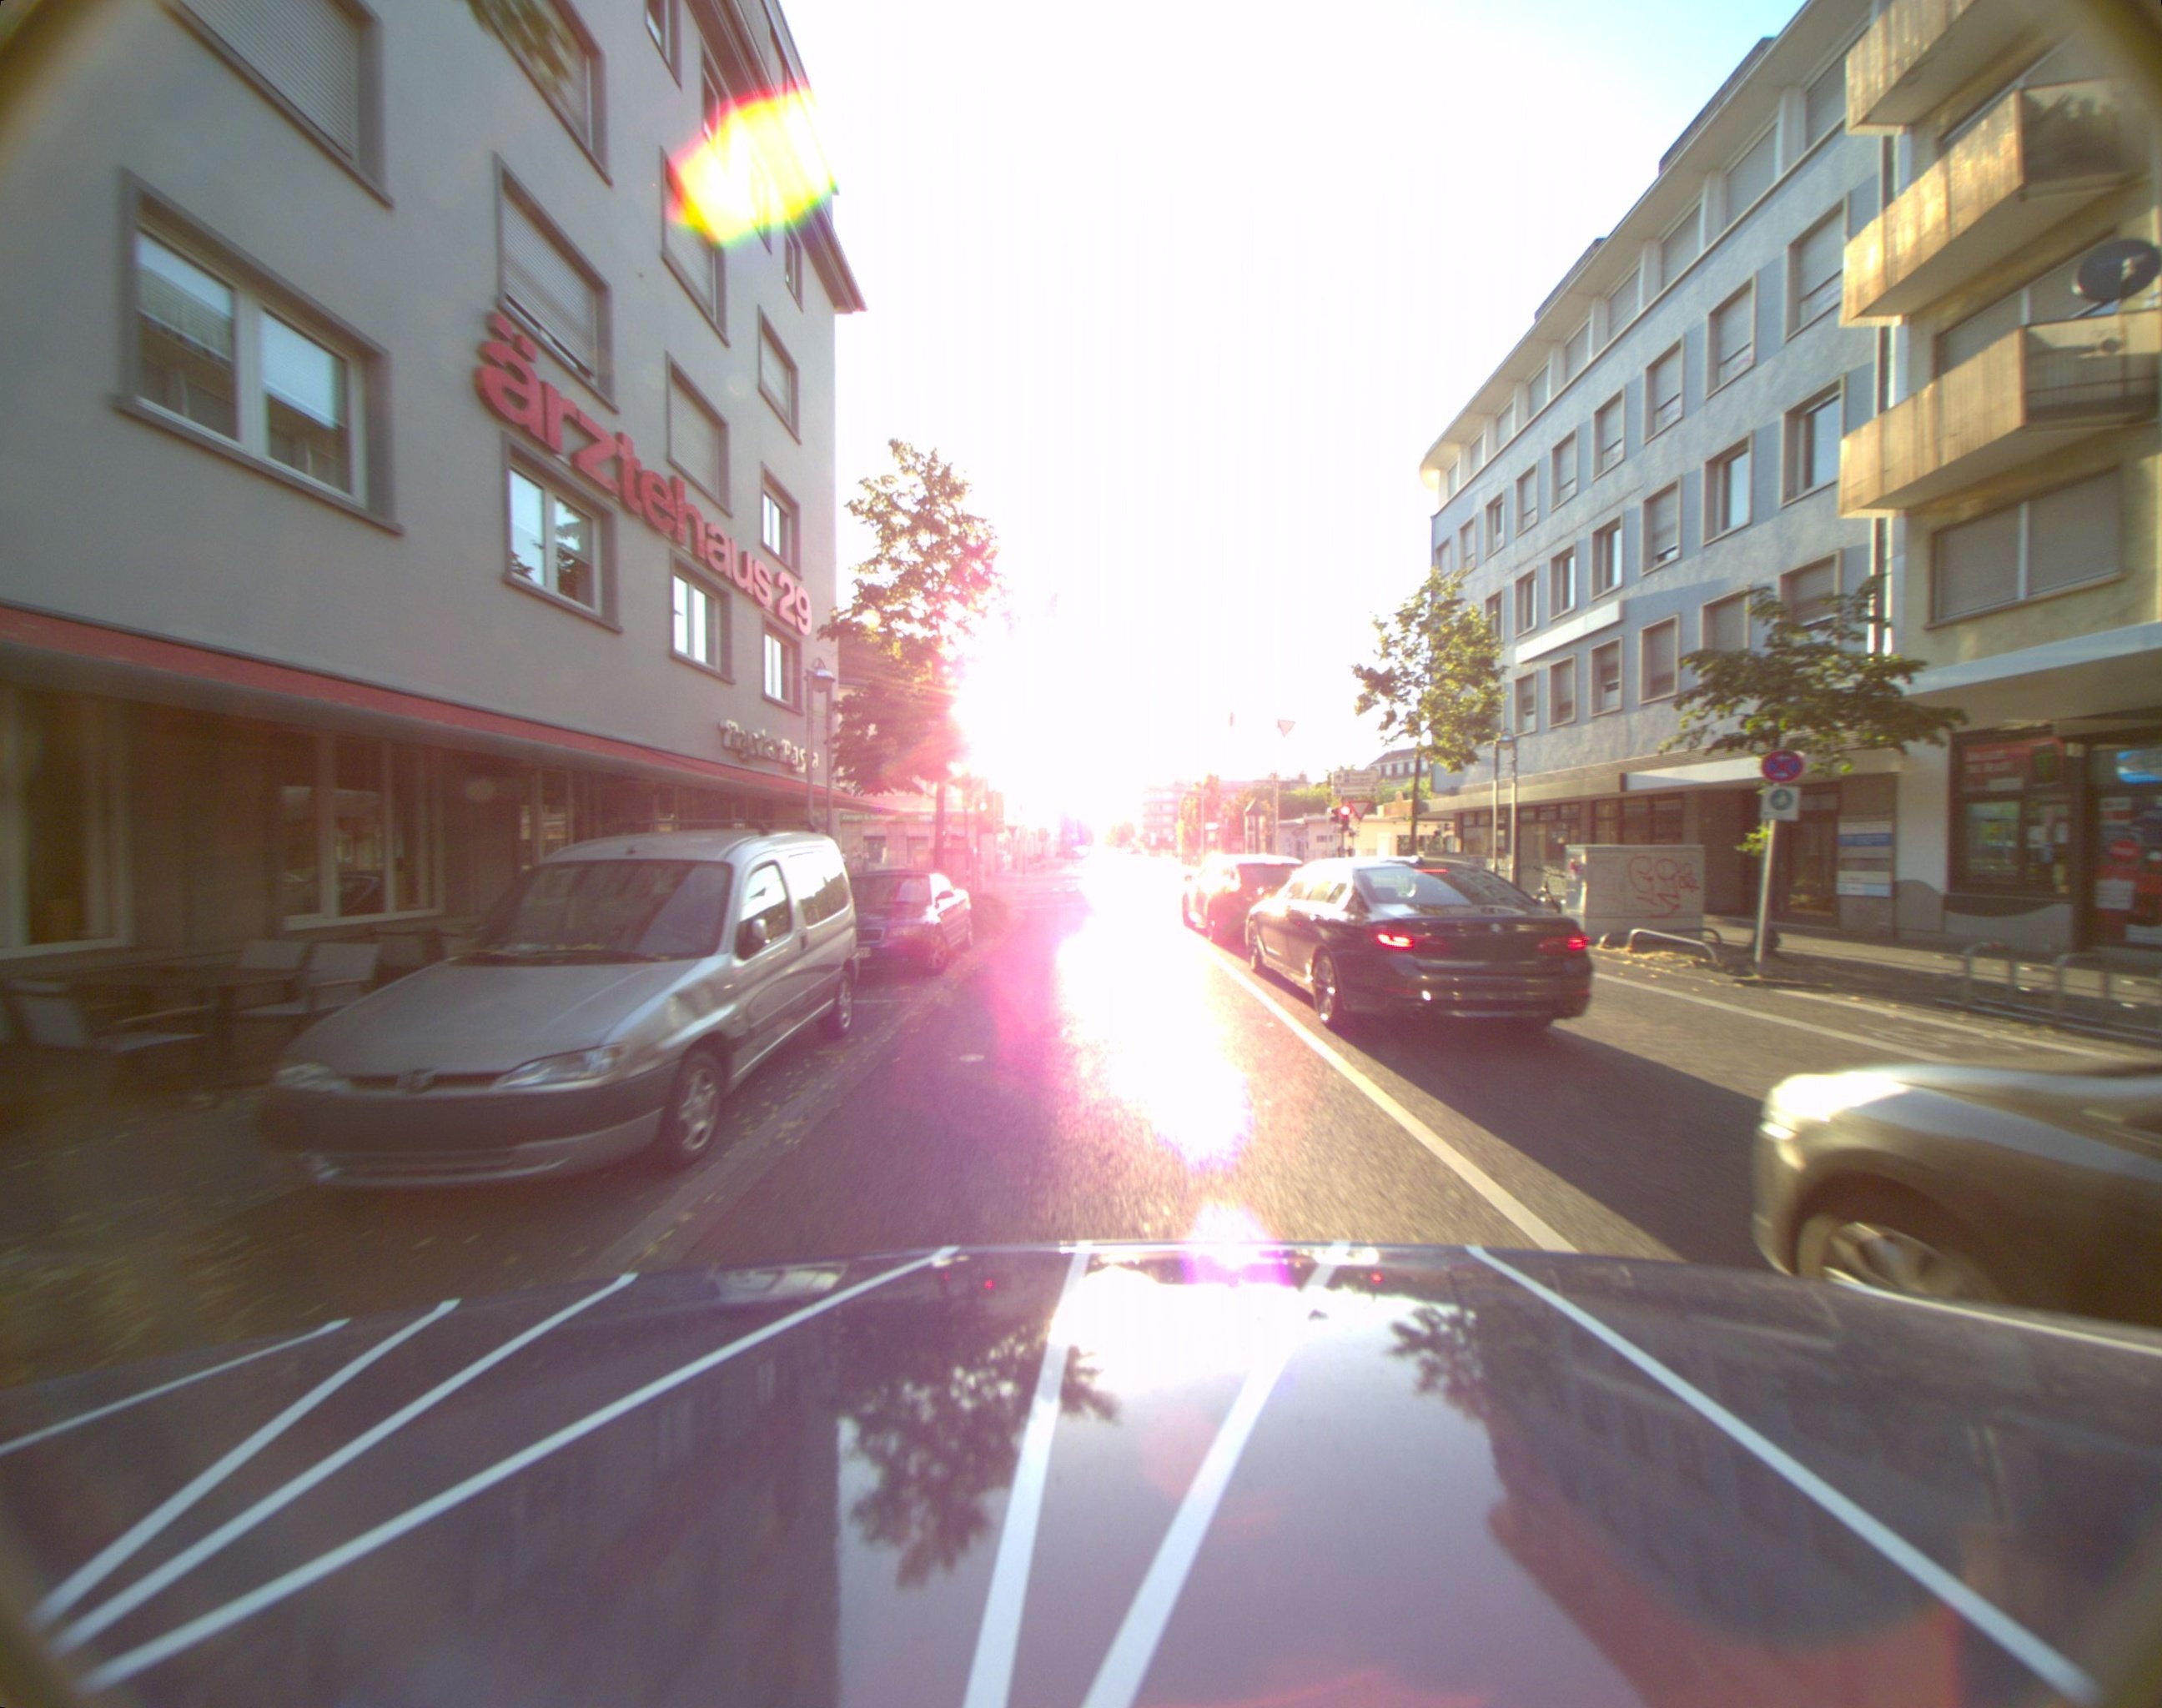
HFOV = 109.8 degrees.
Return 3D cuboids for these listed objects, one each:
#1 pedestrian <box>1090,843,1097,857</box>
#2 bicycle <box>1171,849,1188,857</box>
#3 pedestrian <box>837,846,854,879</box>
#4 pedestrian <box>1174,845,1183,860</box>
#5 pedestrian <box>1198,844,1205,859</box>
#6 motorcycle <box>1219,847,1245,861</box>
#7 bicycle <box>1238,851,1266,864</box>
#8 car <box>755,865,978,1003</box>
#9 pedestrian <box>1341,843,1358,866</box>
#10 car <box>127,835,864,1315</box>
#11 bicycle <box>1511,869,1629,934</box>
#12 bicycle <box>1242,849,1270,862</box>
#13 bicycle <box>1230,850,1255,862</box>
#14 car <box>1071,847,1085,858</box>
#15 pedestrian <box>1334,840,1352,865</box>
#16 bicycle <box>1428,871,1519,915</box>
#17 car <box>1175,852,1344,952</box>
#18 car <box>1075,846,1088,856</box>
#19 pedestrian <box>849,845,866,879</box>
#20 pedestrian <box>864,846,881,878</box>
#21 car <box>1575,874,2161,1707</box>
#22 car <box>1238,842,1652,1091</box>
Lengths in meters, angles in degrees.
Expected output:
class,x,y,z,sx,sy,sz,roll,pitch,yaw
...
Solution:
class,x,y,z,sx,sy,sz,roll,pitch,yaw
pedestrian,1.539,-0.474,97.043,0.842,1.736,0.700,-2,2,0
bicycle,14.008,-0.156,107.856,2.398,1.065,0.672,-1,2,8
pedestrian,-13.055,0.460,42.133,0.685,1.762,0.628,-3,3,-39
pedestrian,11.352,-0.170,88.747,0.905,1.667,0.780,-1,2,13
pedestrian,13.645,-0.261,86.289,0.778,1.667,0.907,-1,2,9
motorcycle,14.791,0.001,74.554,2.450,1.358,0.780,-1,1,6
bicycle,14.948,0.335,66.518,2.221,1.081,0.779,-1,2,-5
car,-2.725,0.947,10.756,1.942,1.368,4.181,-3,1,0
pedestrian,20.210,0.020,57.159,0.781,1.667,0.904,-3,2,-34
car,-2.771,0.821,4.886,1.659,1.768,4.010,-2,1,-2
bicycle,9.701,0.940,15.103,2.014,1.212,0.491,-2,2,1
bicycle,15.040,0.112,65.388,2.196,1.081,0.779,0,2,-5
bicycle,15.131,0.148,71.308,2.180,1.081,0.779,0,2,1
car,-0.438,-0.246,113.153,1.999,1.538,4.508,-2,2,0
pedestrian,19.134,-0.105,55.486,0.908,1.774,0.879,-2,2,-22
bicycle,9.606,0.957,18.621,2.015,0.986,0.491,-2,2,-3
car,3.026,0.731,13.929,1.963,1.538,4.509,0,0,-1
car,0.102,-0.532,125.010,1.998,1.538,4.508,-2,2,2
pedestrian,-12.414,0.435,42.198,0.779,1.802,0.906,-2,2,-11
pedestrian,-11.567,0.439,42.107,0.779,1.762,0.906,-2,2,-11
car,2.831,0.921,0.831,1.728,1.541,4.464,1,2,2
car,2.954,0.736,7.514,1.951,1.635,4.614,1,2,2
